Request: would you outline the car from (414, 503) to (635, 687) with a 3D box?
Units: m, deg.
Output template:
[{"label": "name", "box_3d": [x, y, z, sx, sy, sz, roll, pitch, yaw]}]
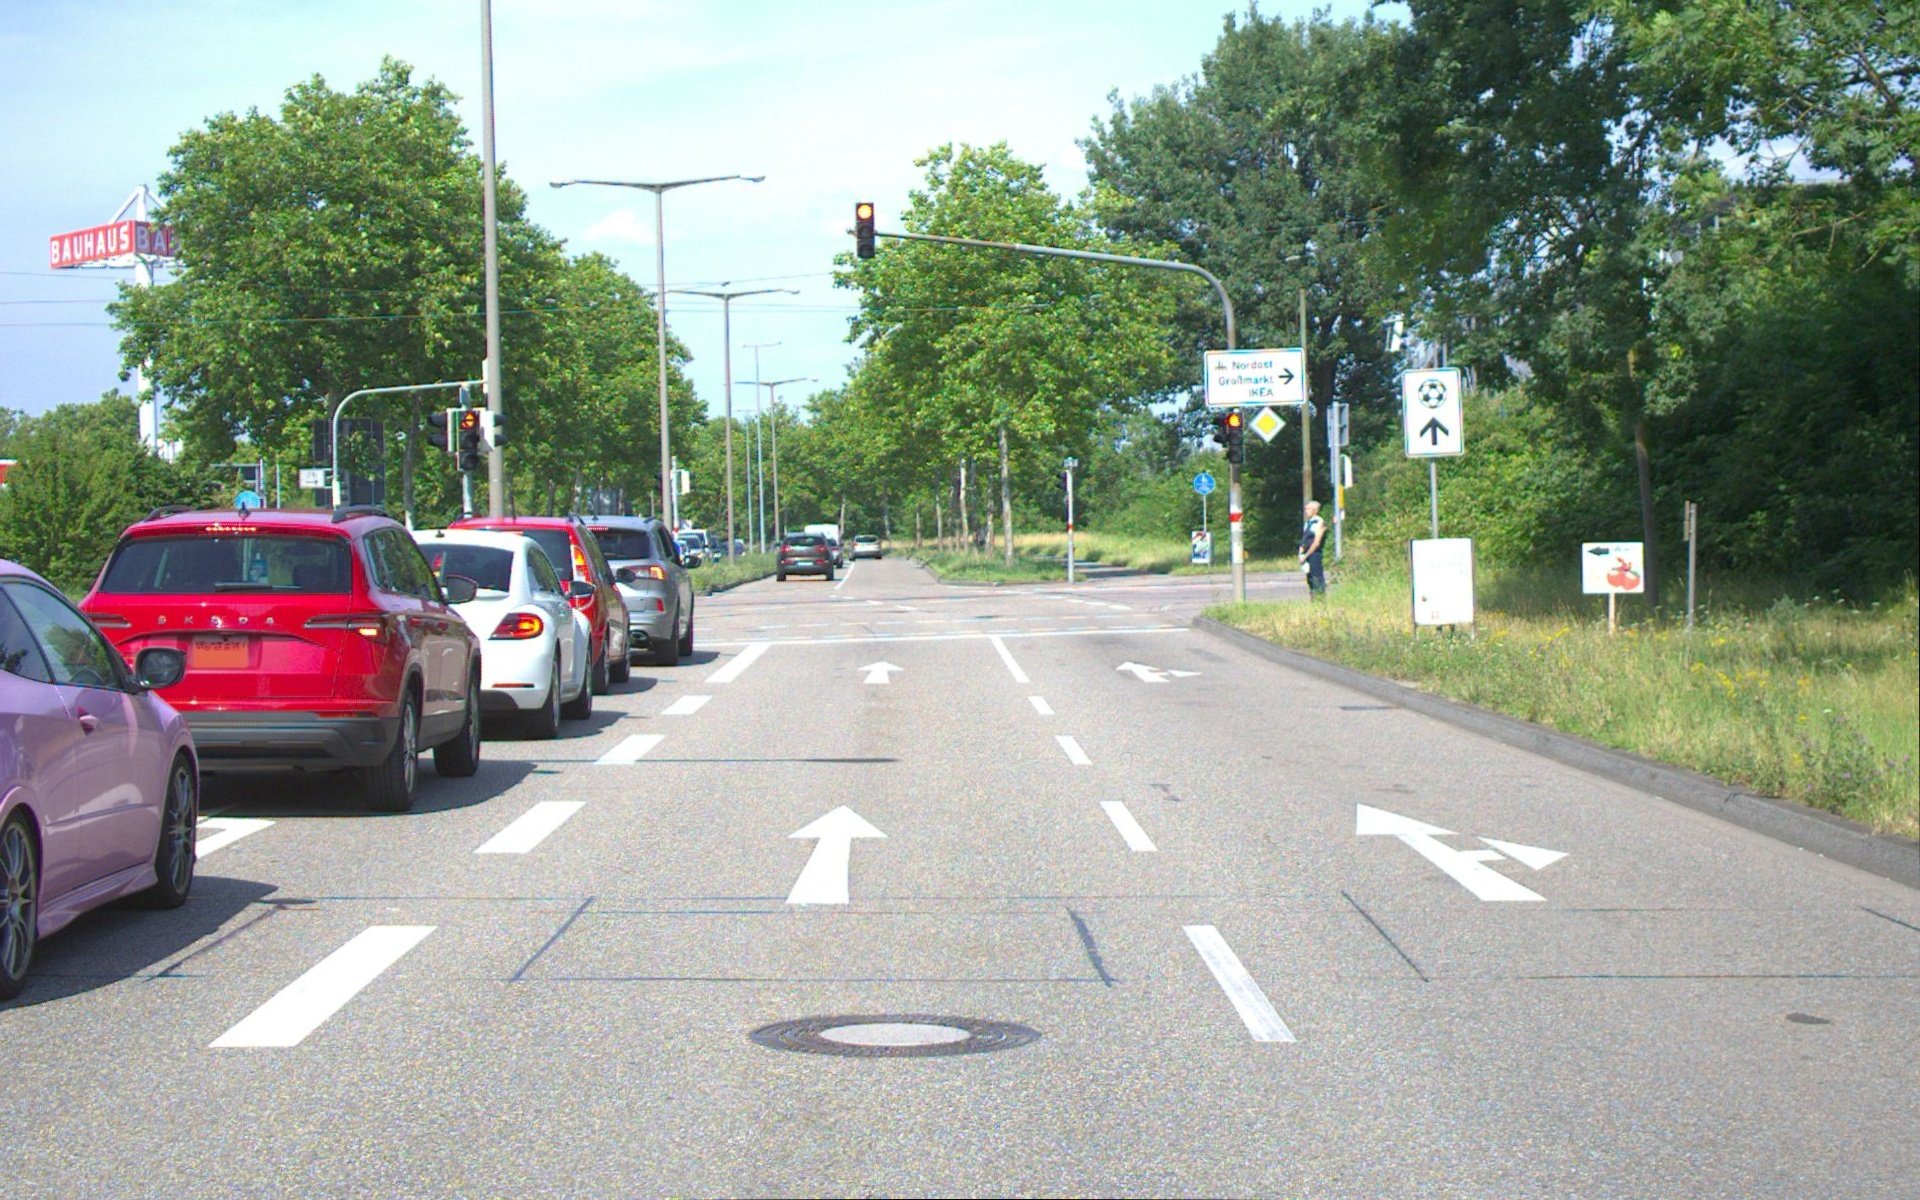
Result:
[{"label": "car", "box_3d": [-4.021, -0.056, 32.264, 1.628, 1.590, 3.918, -1, 0, -1]}]

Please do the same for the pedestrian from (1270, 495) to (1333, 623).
[{"label": "pedestrian", "box_3d": [5.234, -0.633, 52.793, 0.837, 1.926, 0.772, -1, 3, -4]}]

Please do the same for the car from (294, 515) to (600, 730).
[{"label": "car", "box_3d": [-3.752, 0.107, 25.770, 1.766, 1.474, 4.136, 0, 1, -1]}]

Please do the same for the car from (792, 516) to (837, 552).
[{"label": "car", "box_3d": [-7.186, -3.283, 170.052, 1.993, 1.702, 4.263, -1, 1, 0]}]

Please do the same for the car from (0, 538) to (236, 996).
[{"label": "car", "box_3d": [-3.843, 0.484, 12.190, 1.702, 1.385, 4.472, 0, 1, -1]}]

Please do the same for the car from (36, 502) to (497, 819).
[{"label": "car", "box_3d": [-3.785, 0.250, 19.532, 1.782, 1.587, 4.594, 0, 1, -1]}]

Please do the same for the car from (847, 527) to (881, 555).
[{"label": "car", "box_3d": [-5.586, -3.433, 200.763, 1.867, 1.568, 4.000, -2, 1, -1]}]

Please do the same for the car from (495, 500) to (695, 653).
[{"label": "car", "box_3d": [-4.052, -0.293, 38.752, 1.881, 1.612, 4.213, -1, 1, -1]}]

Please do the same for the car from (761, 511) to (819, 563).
[{"label": "car", "box_3d": [-5.603, -2.087, 113.484, 1.736, 1.530, 4.001, -1, 3, -1]}]

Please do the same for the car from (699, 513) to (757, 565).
[{"label": "car", "box_3d": [-8.760, -2.321, 129.948, 1.993, 1.889, 4.376, -1, 1, -2]}]

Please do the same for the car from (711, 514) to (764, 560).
[{"label": "car", "box_3d": [-9.349, -2.663, 144.647, 1.993, 1.889, 4.376, -1, 1, -1]}]
